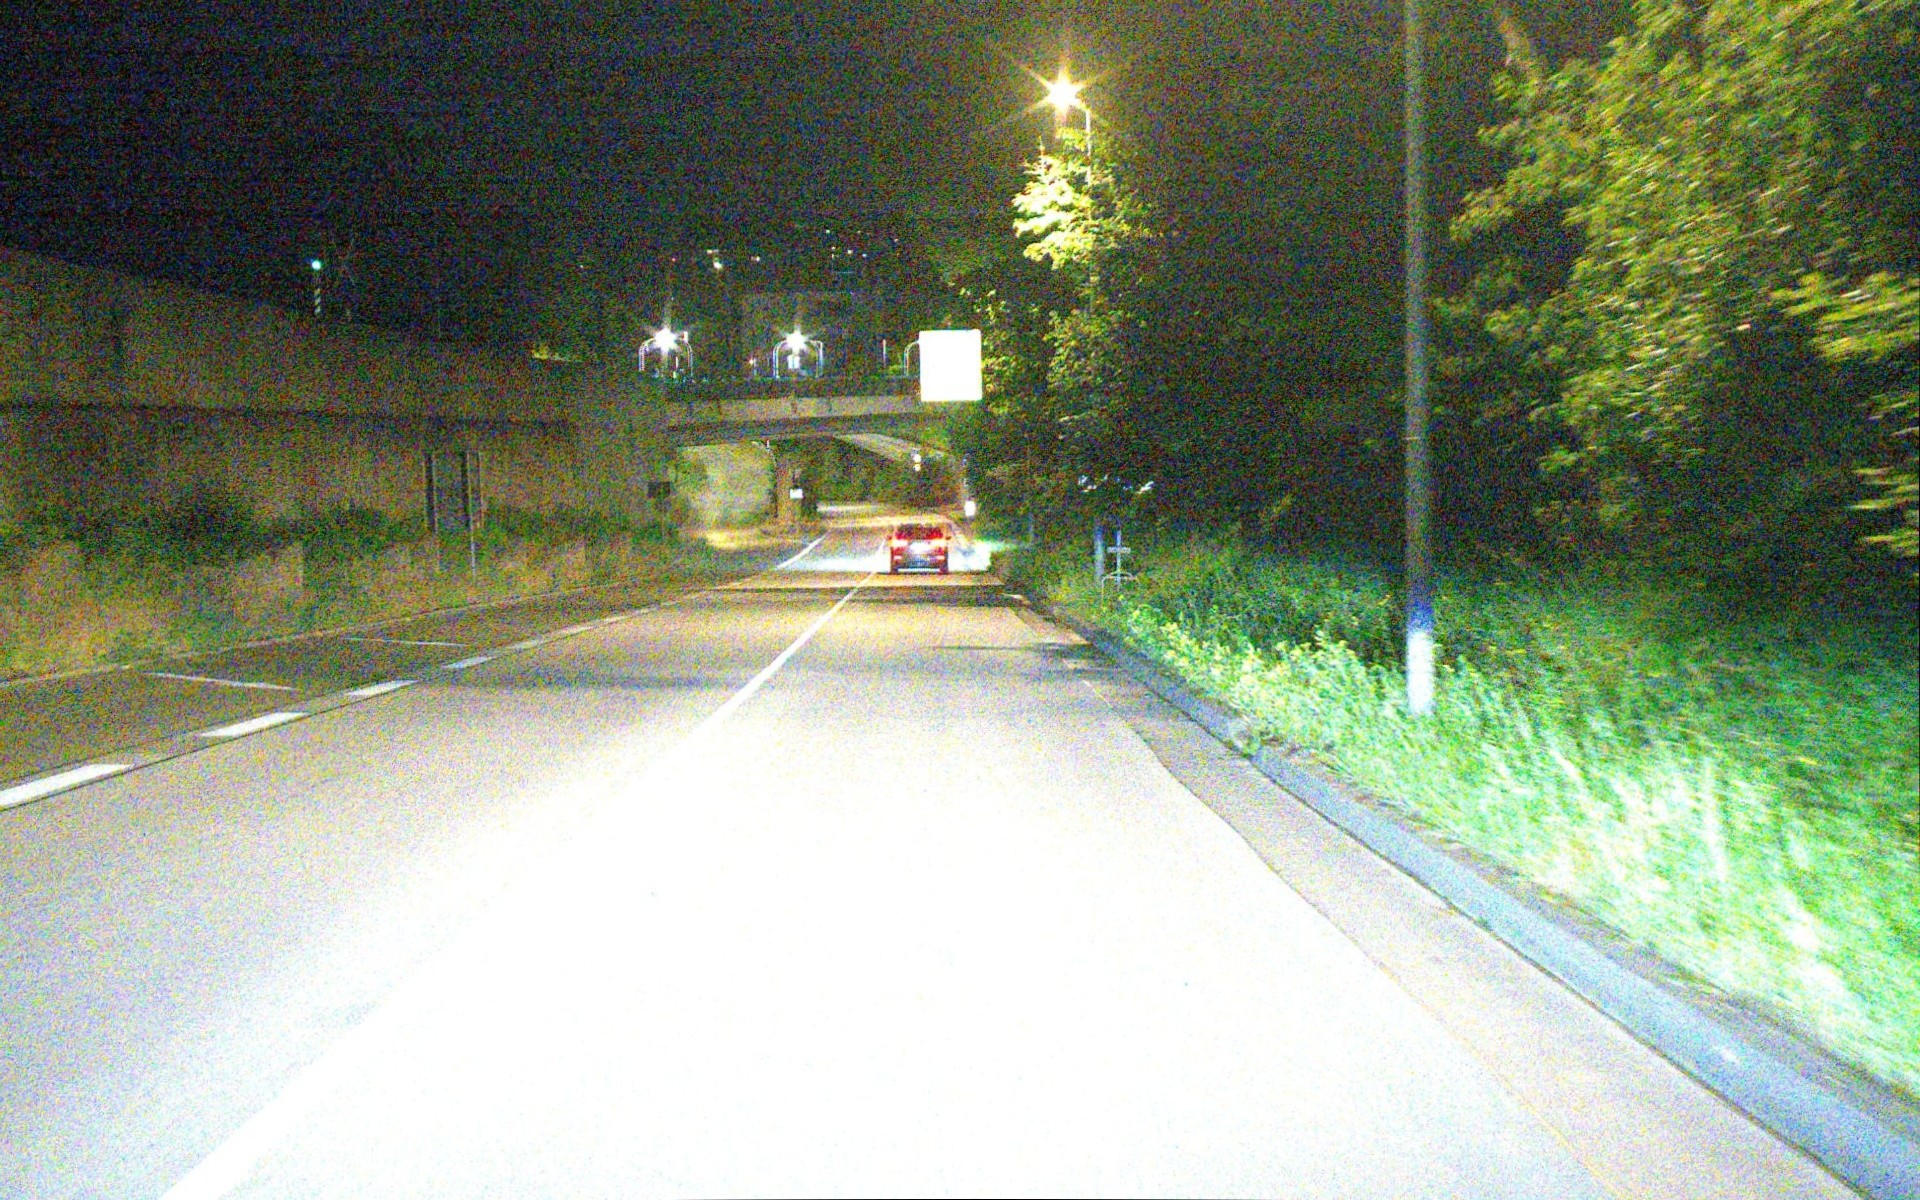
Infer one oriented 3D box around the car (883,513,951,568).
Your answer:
[{"bbox_3d":[-1.325,-1.865,106.708,1.763,1.636,3.722,0,2,5],"label":"car"}]
